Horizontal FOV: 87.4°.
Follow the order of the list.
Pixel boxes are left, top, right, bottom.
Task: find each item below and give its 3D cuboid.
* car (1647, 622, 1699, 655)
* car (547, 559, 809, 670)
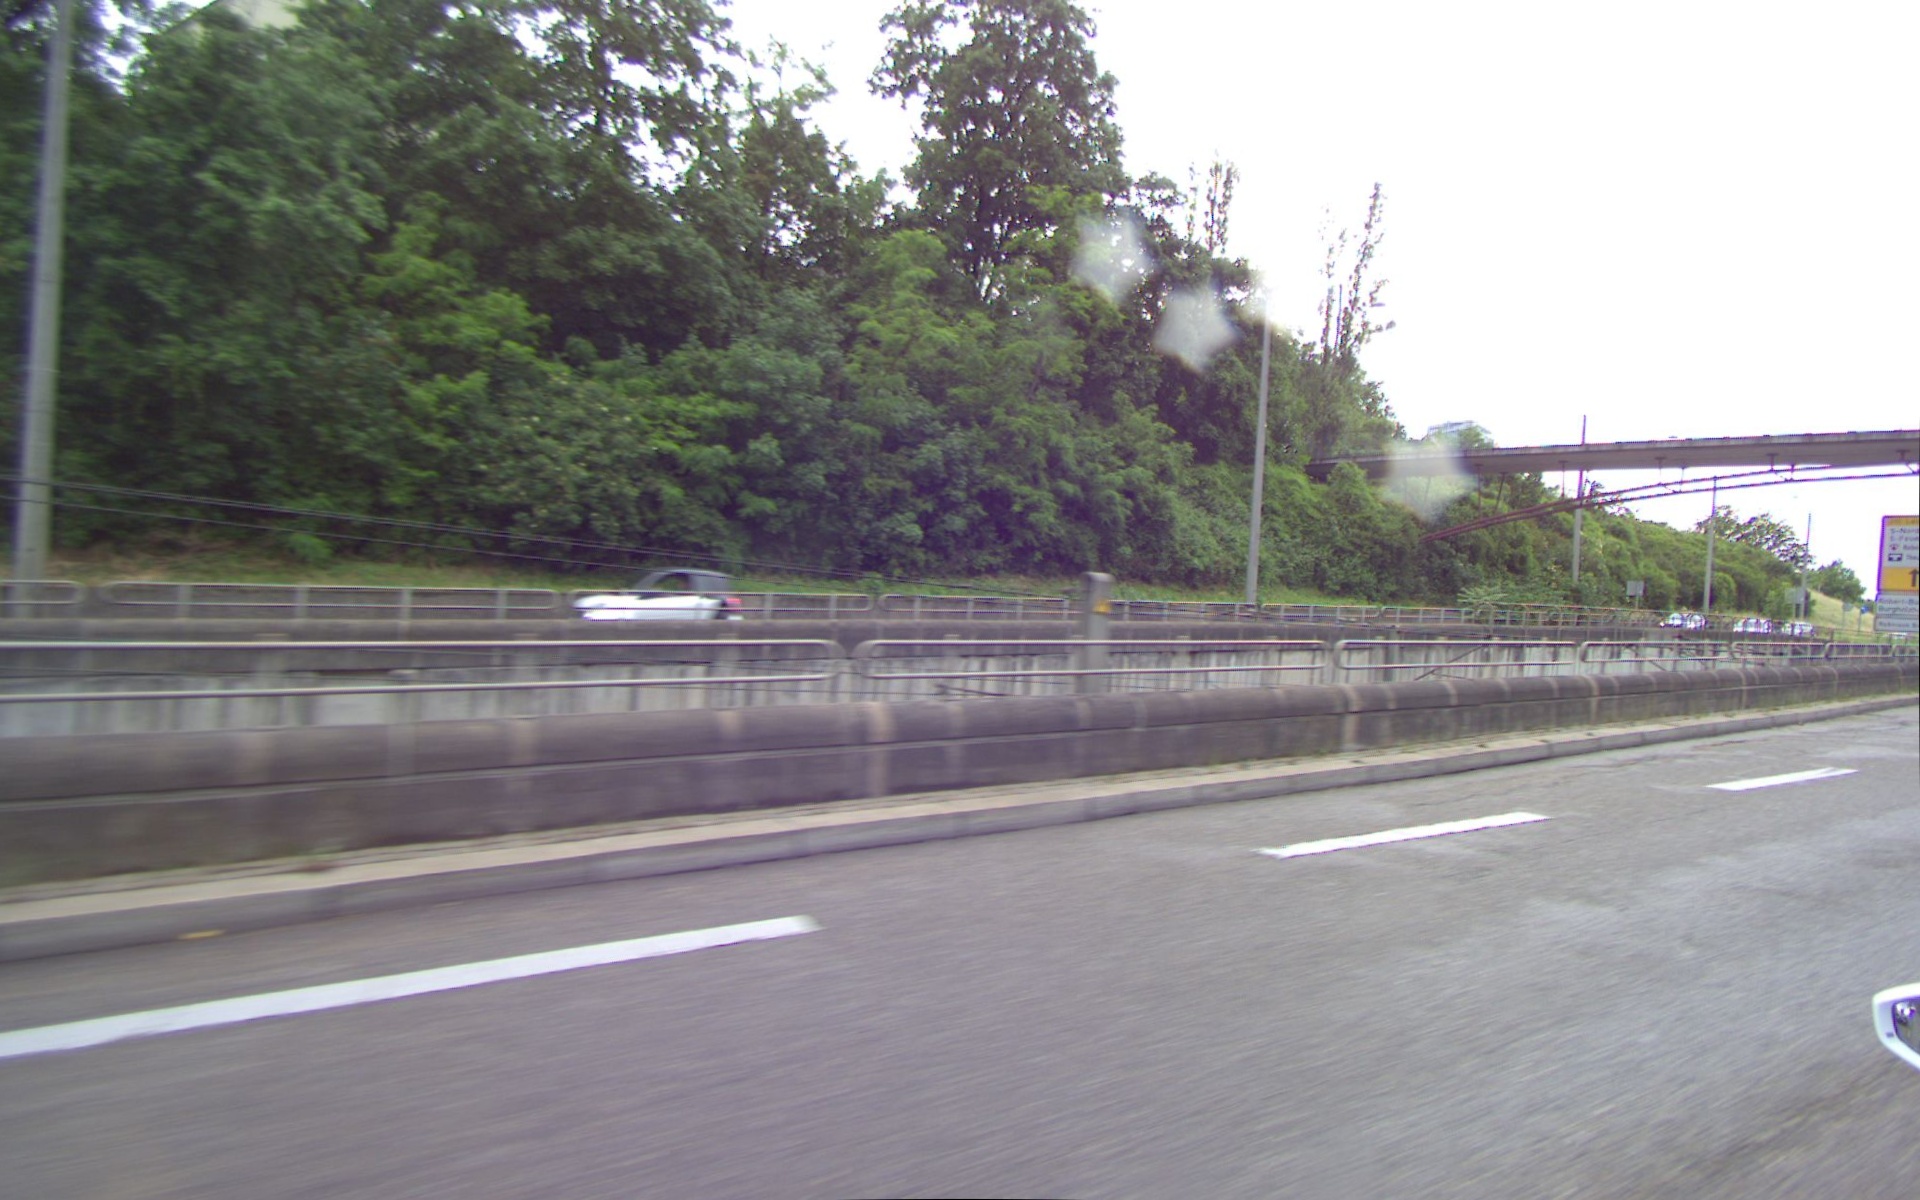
[{"bbox_3d":[44.631,2.425,62.807,4.525,1.941,1.656,3,-1,-42],"label":"car"},{"bbox_3d":[-4.983,0.287,17.872,4.095,1.773,1.950,2,-1,-32],"label":"car"}]
